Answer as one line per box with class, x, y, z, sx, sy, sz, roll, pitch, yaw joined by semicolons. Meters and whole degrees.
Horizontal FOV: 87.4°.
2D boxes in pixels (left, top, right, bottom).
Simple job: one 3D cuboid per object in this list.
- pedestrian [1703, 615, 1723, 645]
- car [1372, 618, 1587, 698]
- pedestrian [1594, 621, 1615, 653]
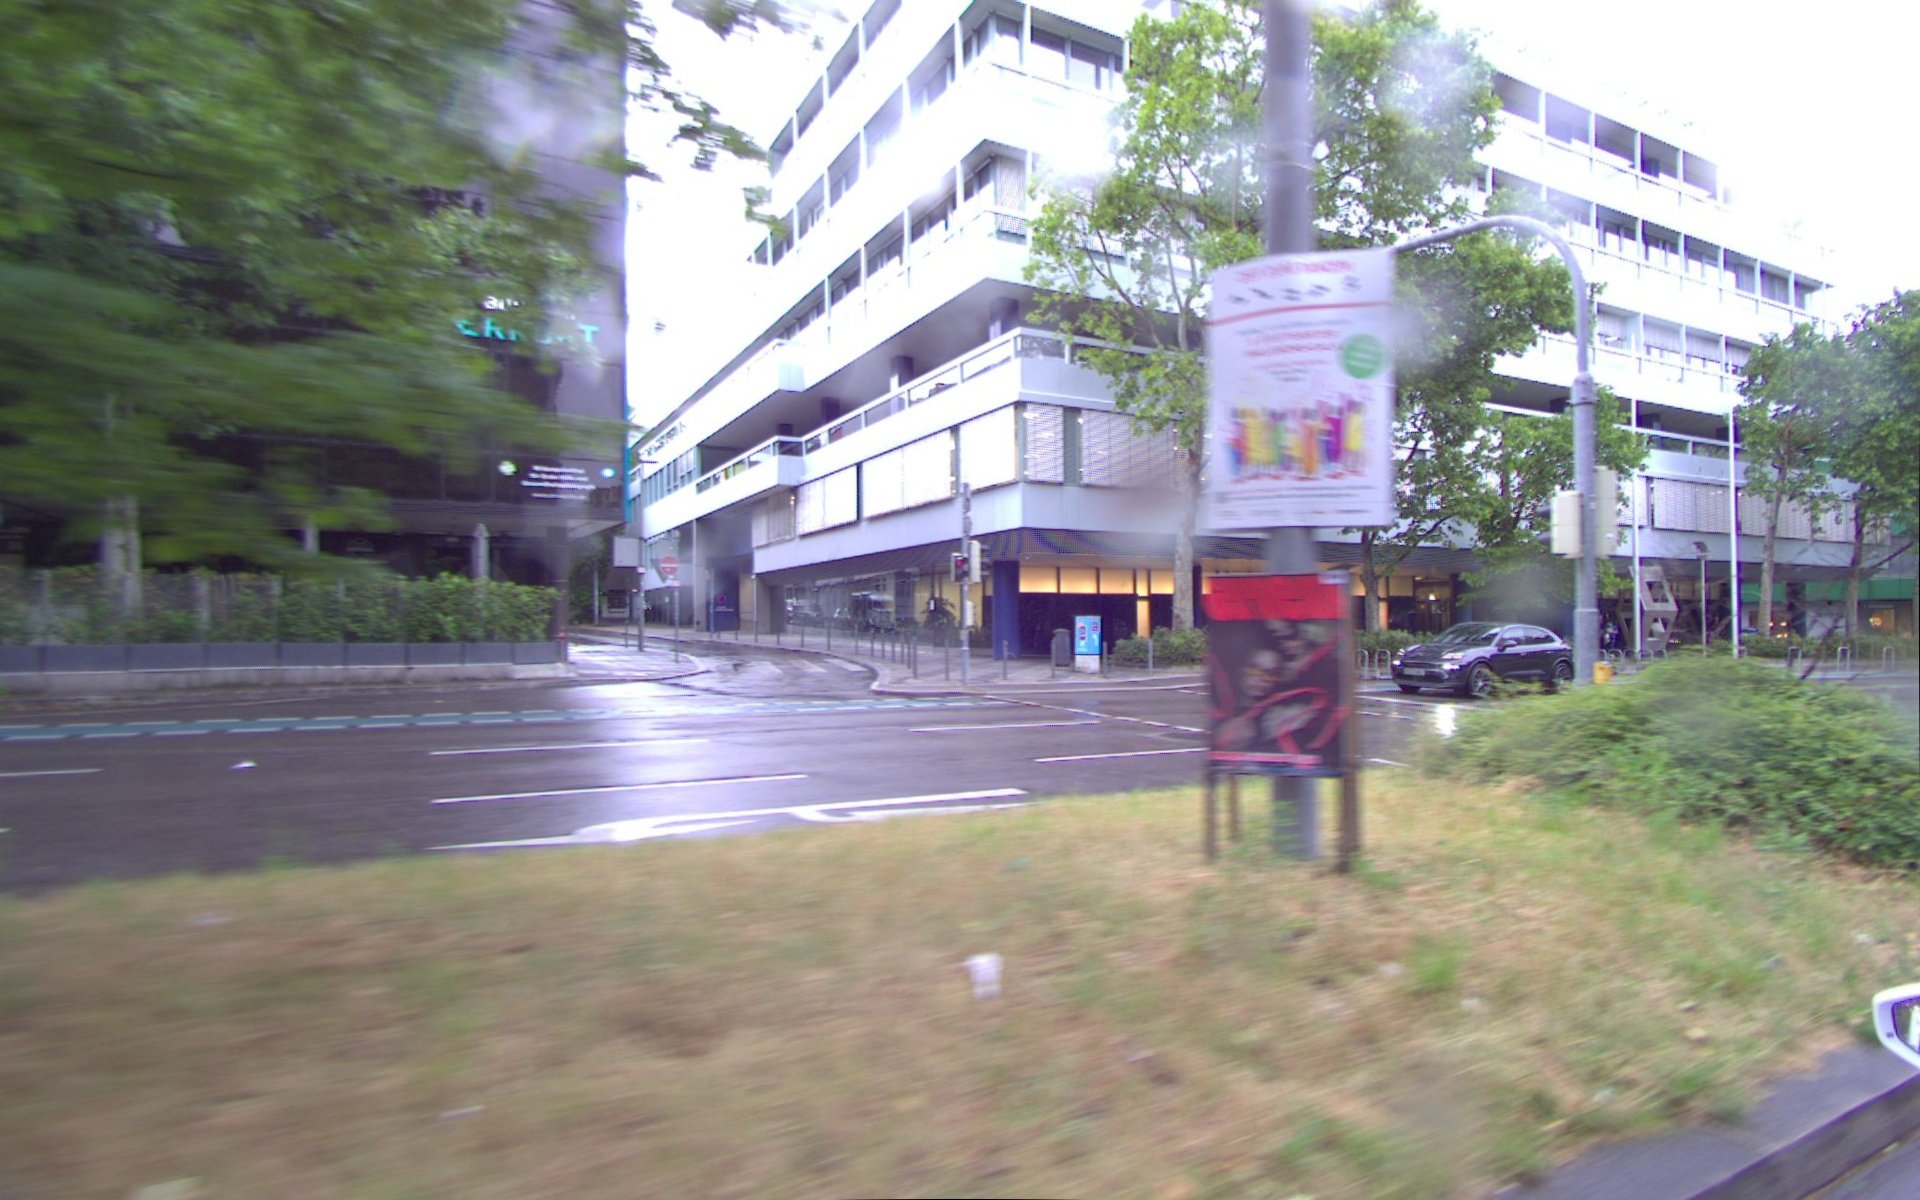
pedestrian;38.034;1.502;50.734;0.568;1.502;0.606;2;0;-32
car;11.808;1.297;22.783;4.683;1.605;1.903;2;0;-26
pedestrian;28.707;1.633;44.724;0.469;1.398;0.634;2;0;-32
